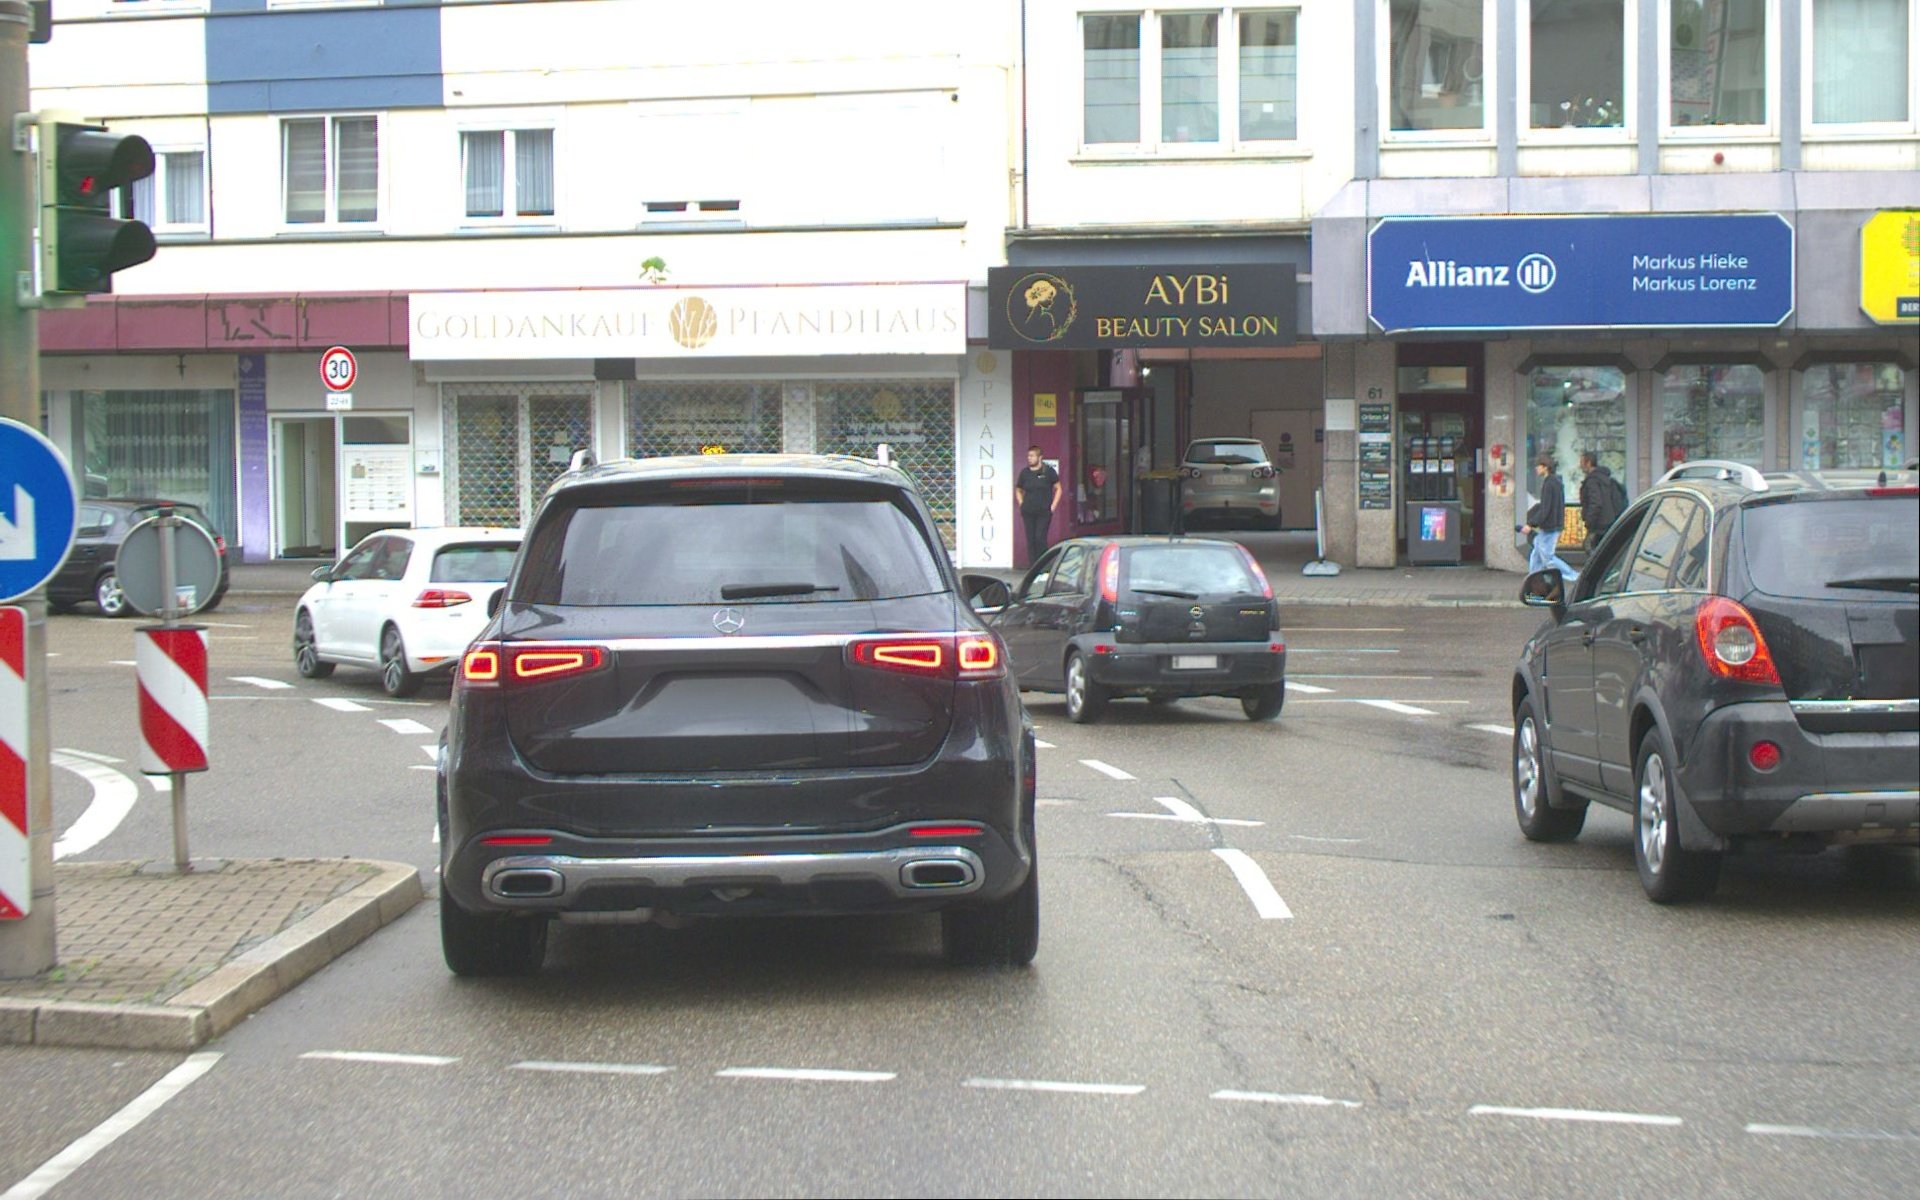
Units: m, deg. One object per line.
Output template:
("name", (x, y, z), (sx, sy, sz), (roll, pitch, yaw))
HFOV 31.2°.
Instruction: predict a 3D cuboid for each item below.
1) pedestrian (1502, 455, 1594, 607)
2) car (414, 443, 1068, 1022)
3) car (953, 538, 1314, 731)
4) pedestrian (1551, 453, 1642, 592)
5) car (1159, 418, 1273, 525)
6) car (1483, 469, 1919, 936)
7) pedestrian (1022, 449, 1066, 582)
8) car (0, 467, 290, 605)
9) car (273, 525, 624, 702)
("pedestrian", (7.248, -0.855, 42.425), (1.030, 1.793, 0.830), (0, 7, 4))
("car", (-0.935, 0.355, 13.061), (2.038, 1.792, 4.664), (0, 1, -6))
("car", (1.294, 0.227, 27.400), (1.766, 1.392, 4.001), (-1, 1, -14))
("pedestrian", (8.090, -0.990, 43.750), (1.030, 1.683, 0.830), (0, 7, 4))
("car", (4.233, -2.100, 56.972), (1.797, 1.664, 4.000), (-1, 1, 4))
("car", (3.565, 0.319, 14.684), (1.897, 1.689, 4.506), (0, 1, -1))
("pedestrian", (1.104, -1.122, 45.422), (0.564, 1.683, 0.756), (0, 7, 1))
("car", (-10.921, -0.822, 43.749), (4.487, 1.653, 1.826), (1, 0, 27))
("car", (-4.744, 0.081, 31.343), (1.873, 1.489, 4.401), (1, 1, -27))
